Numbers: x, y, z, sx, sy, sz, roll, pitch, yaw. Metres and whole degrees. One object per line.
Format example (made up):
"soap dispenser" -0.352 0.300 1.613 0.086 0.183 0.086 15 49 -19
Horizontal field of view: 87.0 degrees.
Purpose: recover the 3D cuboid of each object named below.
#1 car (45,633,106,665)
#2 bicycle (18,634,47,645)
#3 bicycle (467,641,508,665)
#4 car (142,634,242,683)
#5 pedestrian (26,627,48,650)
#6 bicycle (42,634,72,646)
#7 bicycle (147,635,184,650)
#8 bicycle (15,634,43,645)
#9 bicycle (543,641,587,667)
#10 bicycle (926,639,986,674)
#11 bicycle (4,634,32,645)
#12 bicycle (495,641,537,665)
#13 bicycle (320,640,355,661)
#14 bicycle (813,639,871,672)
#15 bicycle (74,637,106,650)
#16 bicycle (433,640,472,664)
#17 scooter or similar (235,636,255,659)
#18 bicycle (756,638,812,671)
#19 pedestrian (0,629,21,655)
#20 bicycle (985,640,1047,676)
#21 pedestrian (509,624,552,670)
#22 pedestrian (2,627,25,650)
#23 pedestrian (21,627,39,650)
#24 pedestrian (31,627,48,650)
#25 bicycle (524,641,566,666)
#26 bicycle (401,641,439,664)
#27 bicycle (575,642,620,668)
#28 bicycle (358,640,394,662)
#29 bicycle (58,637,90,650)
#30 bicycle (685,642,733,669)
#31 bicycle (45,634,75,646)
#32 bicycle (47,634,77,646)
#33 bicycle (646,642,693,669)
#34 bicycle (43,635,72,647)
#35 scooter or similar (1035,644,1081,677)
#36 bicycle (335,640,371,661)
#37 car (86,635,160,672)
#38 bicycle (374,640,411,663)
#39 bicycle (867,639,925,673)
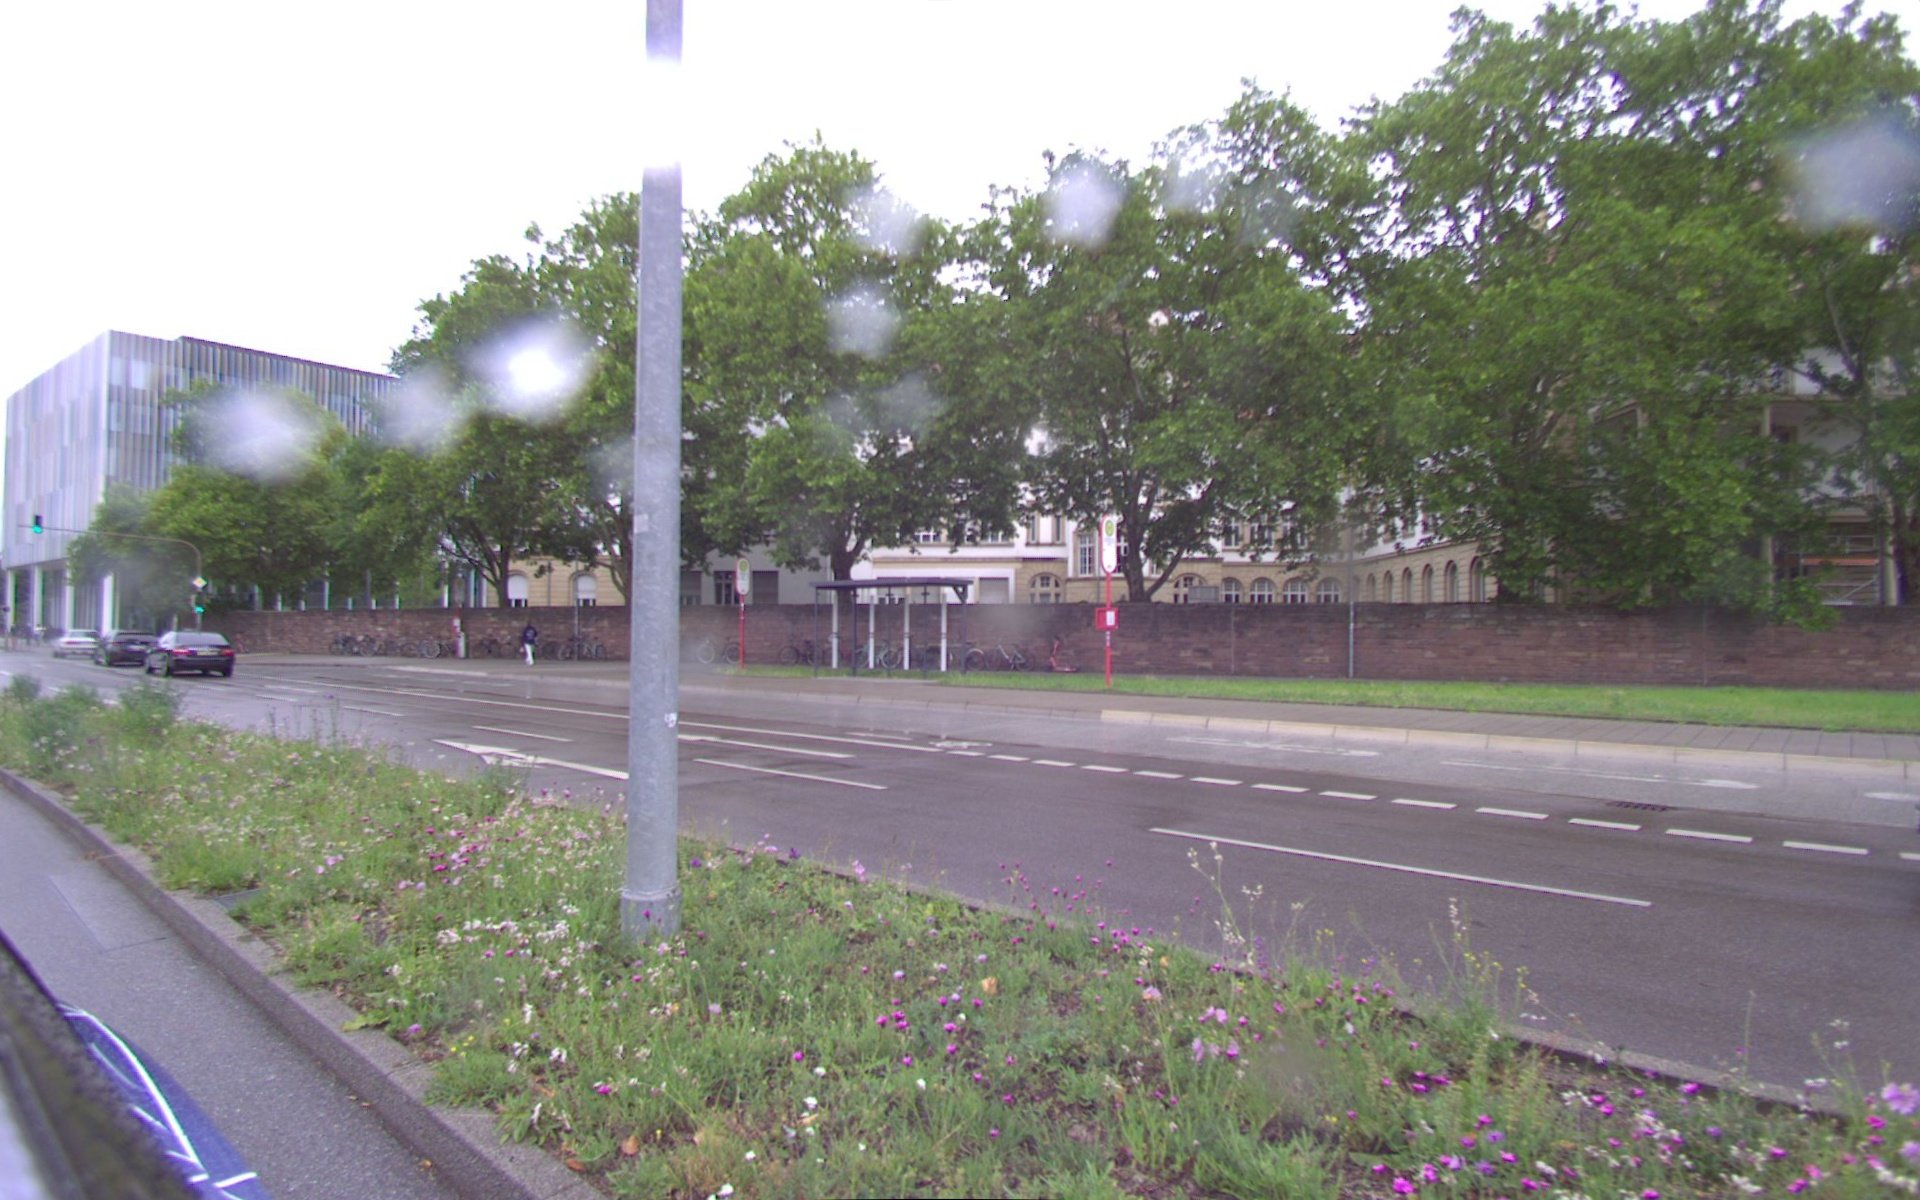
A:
"car" -42.603 2.341 48.703 4.522 1.426 1.579 -2 -4 41
"bicycle" -102.299 4.391 111.636 2.250 1.231 0.600 2 -3 -41
"bicycle" -20.168 2.236 43.206 1.694 0.990 0.726 -1 -2 30
"car" -25.885 1.939 34.044 4.702 1.552 1.789 -2 -4 42
"pedestrian" -74.266 3.117 81.471 0.916 1.838 0.934 -1 -2 17
"bicycle" -93.392 4.134 104.700 2.250 1.231 0.600 2 -3 -41
"bicycle" -64.385 3.444 82.046 0.596 1.231 2.264 -1 -2 27
"bicycle" -103.860 4.438 112.923 2.250 1.231 0.600 2 -3 -41
"bicycle" -15.955 2.165 40.864 1.694 0.990 0.726 -1 -2 30
"bicycle" -0.135 1.879 33.709 1.980 1.144 0.570 -1 -2 25
"bicycle" -105.567 4.456 113.414 2.250 1.231 0.600 2 -3 -41
"bicycle" -18.613 2.206 42.414 1.694 0.990 0.726 -1 -2 30
"bicycle" -30.798 2.488 50.048 1.694 0.990 0.726 -1 -2 30
"bicycle" -4.130 1.939 35.352 1.977 1.144 0.571 -1 -2 21
"bicycle" -84.530 4.242 98.344 0.596 1.231 2.264 -1 -2 27
"bicycle" -22.452 2.293 44.754 1.694 0.990 0.726 -1 -2 30
"scooter or similar" -39.077 2.576 55.310 1.139 1.206 0.388 -1 4 34
"bicycle" -6.327 1.950 36.335 1.977 1.144 0.571 -1 -2 21
"pedestrian" -67.961 3.001 72.421 0.789 1.838 0.782 -1 -2 17
"bicycle" 1.830 1.882 33.132 1.980 1.144 0.570 -1 -2 25
"pedestrian" -16.041 1.743 37.825 1.396 1.708 0.861 -1 -2 35
"pedestrian" -75.370 3.081 80.568 0.913 1.838 0.936 0 -2 10
"pedestrian" -73.891 3.042 80.389 0.619 1.838 0.782 -1 -2 17
"pedestrian" -72.926 3.055 80.187 0.619 1.838 0.782 -1 -2 17
"bicycle" -17.078 2.192 41.614 1.694 0.990 0.726 -1 -2 30
"bicycle" -24.392 2.349 45.704 1.694 0.990 0.726 -1 -2 30
"bicycle" -14.112 2.121 39.402 1.694 0.990 0.726 -1 -2 30
"bicycle" -27.691 2.413 48.002 1.694 0.990 0.726 -1 -2 30
"bicycle" -86.942 4.278 99.346 0.596 1.231 2.264 -1 -2 27
"bicycle" -9.273 2.044 37.417 1.694 0.990 0.726 -1 -2 30
"bicycle" -92.551 4.111 104.095 2.250 1.231 0.600 2 -3 -41
"bicycle" -91.740 4.084 103.372 2.250 1.231 0.600 2 -3 -41
"bicycle" -11.055 2.084 38.490 1.694 0.990 0.726 -1 -2 30
"bicycle" -94.018 4.230 105.447 2.250 1.231 0.600 2 -3 -41
"scooter or similar" 3.157 1.941 32.567 1.354 1.055 0.569 -1 -2 25
"bicycle" -29.248 2.440 48.749 1.694 0.990 0.726 -1 -2 30
"car" -33.553 2.125 40.547 4.064 1.426 1.606 -2 -4 41
"bicycle" -26.091 2.357 46.518 1.859 0.990 0.725 -1 -2 34
"bicycle" -2.192 1.915 34.657 1.980 1.144 0.570 -1 -2 25
